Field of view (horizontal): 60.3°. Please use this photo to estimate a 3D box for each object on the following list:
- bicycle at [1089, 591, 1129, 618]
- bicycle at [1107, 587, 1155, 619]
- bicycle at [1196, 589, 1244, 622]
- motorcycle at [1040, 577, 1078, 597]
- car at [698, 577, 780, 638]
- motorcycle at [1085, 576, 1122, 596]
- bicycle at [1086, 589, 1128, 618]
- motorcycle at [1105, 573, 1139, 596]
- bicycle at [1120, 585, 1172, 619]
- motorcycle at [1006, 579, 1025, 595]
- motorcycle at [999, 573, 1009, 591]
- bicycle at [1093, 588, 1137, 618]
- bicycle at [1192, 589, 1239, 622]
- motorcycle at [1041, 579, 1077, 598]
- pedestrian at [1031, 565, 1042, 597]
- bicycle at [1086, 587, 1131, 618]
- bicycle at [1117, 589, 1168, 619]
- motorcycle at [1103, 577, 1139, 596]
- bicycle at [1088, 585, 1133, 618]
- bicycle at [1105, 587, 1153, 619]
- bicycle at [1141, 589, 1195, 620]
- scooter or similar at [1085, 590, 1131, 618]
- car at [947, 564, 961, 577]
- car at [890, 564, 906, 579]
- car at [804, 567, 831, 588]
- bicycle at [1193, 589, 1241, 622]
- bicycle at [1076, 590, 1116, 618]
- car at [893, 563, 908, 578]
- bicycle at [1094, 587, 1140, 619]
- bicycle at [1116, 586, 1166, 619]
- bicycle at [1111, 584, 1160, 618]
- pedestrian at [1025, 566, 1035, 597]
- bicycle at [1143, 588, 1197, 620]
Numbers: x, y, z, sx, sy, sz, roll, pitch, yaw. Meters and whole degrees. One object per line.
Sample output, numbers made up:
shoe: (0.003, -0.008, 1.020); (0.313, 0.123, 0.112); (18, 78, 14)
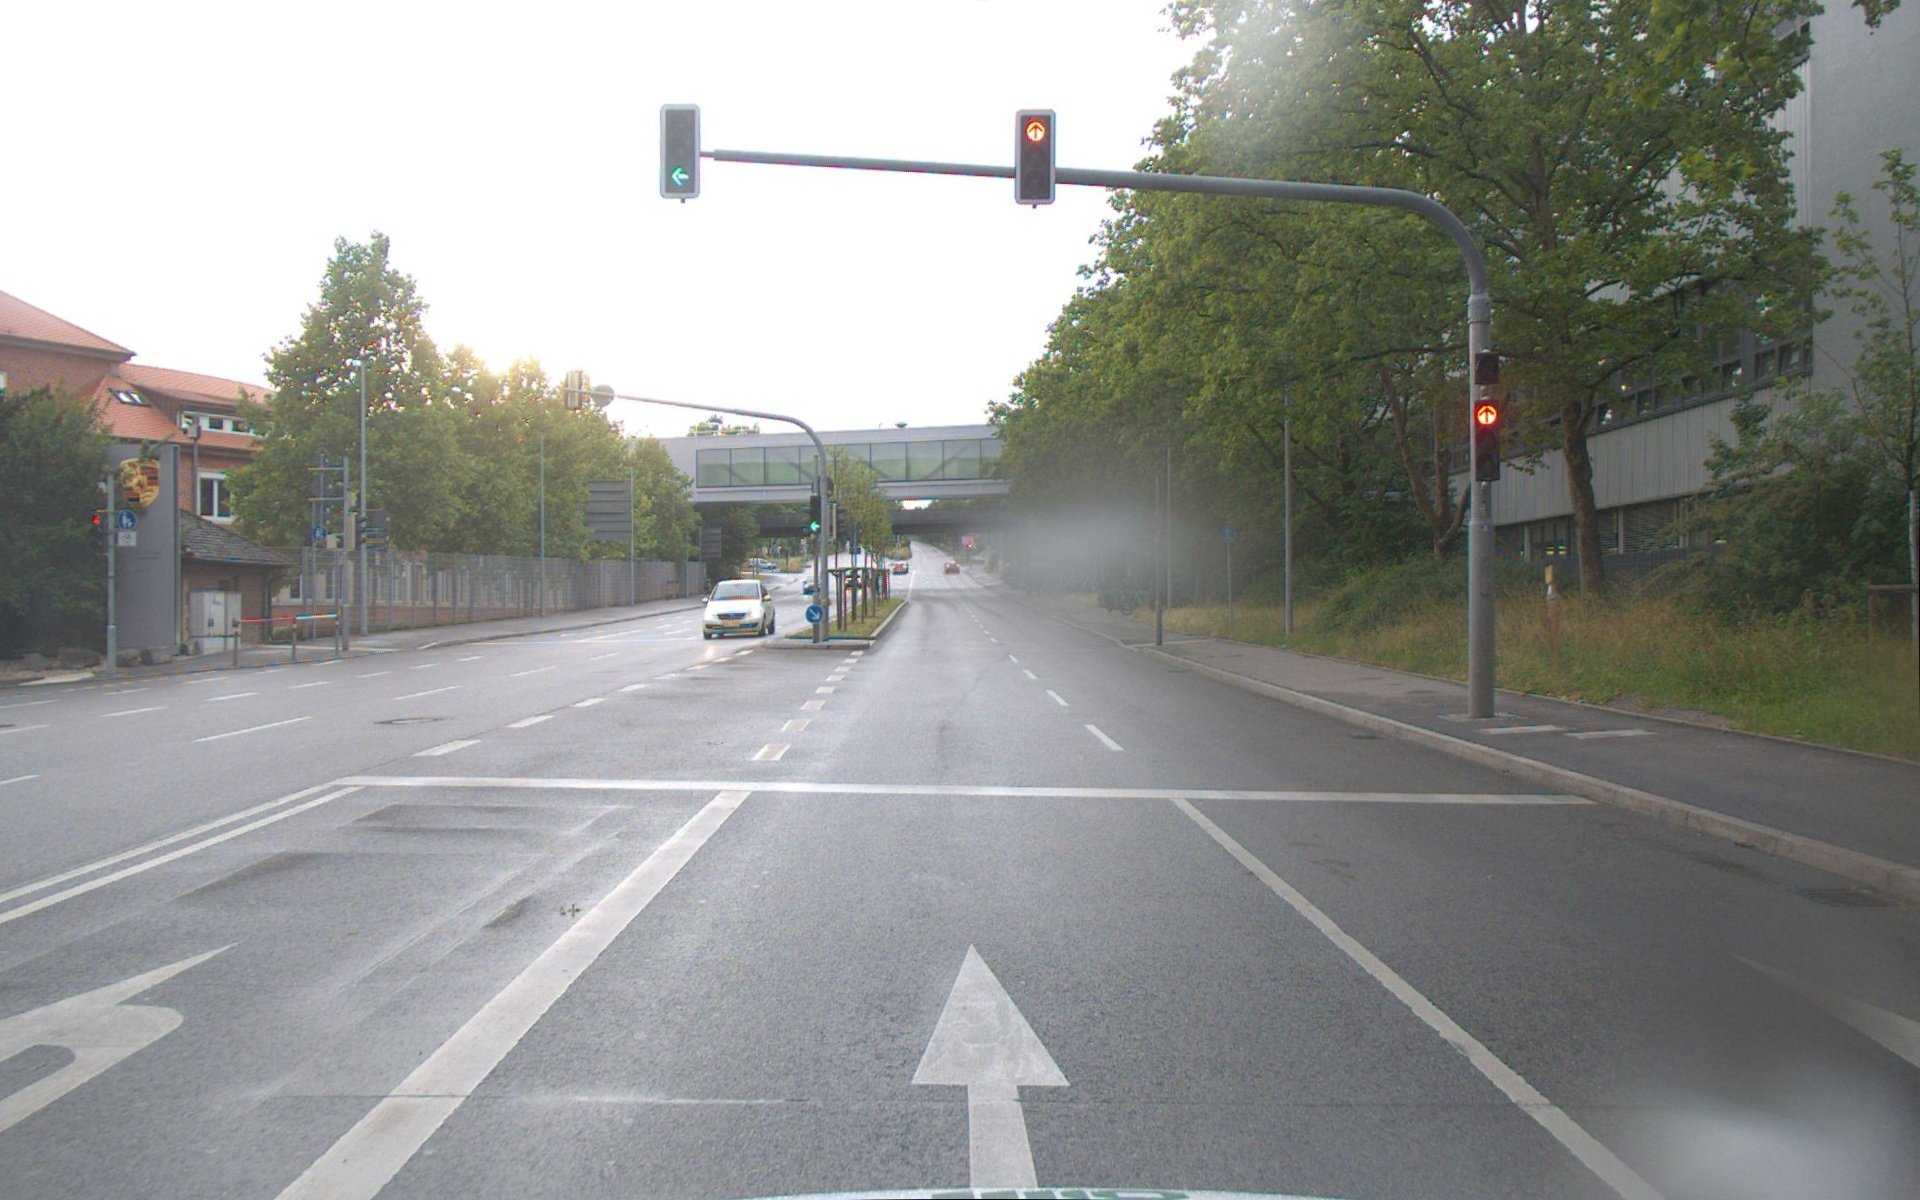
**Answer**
bicycle: (7.569, 0.229, 83.959); (1.922, 1.352, 0.654); (2, -1, 0)
bicycle: (7.176, 0.121, 69.344); (1.949, 1.263, 0.541); (2, -1, 0)
bicycle: (11.167, 0.226, 71.136); (1.949, 1.352, 0.576); (2, -1, 0)
motorcycle: (6.360, -0.838, 106.160); (2.318, 1.223, 0.723); (-1, 0, 7)
car: (-6.329, 0.185, 47.769); (1.839, 1.653, 3.778); (-1, 0, 0)
motorcycle: (9.322, -0.895, 107.639); (2.318, 1.223, 0.723); (-1, 0, 7)
bicycle: (7.008, 0.163, 78.859); (1.920, 1.352, 0.576); (2, -1, 0)
motorcycle: (11.317, -1.086, 115.586); (2.318, 1.502, 0.723); (-1, 0, 7)
bicycle: (7.228, 0.088, 64.386); (1.949, 1.237, 0.541); (2, -1, 0)
motorcycle: (4.508, -1.049, 133.910); (0.778, 1.334, 2.364); (-2, 0, -18)
motorcycle: (4.058, -1.655, 153.131); (0.774, 1.560, 2.376); (-1, 0, -2)
bicycle: (7.206, 0.150, 76.912); (1.949, 1.352, 0.576); (2, -1, 0)
bicycle: (11.182, 0.239, 72.438); (1.949, 1.352, 0.576); (2, -1, 0)
motorcycle: (6.575, -0.758, 110.040); (2.318, 1.223, 0.723); (-1, 0, 7)
pedestrian: (5.007, -1.241, 107.970); (0.609, 2.049, 0.605); (-1, 0, 0)
bicycle: (6.664, 0.122, 74.377); (1.949, 1.352, 0.576); (2, -1, 0)
bicycle: (7.263, 0.156, 65.993); (1.949, 1.114, 0.541); (2, -1, 0)
motorcycle: (10.698, -0.905, 109.808); (2.318, 1.223, 0.723); (-1, 0, 7)
bicycle: (6.918, 0.082, 76.056); (1.949, 1.455, 0.723); (2, -1, 0)
bicycle: (7.165, 0.130, 70.292); (1.949, 1.263, 0.541); (2, -1, 0)
bicycle: (7.906, 0.156, 62.931); (1.949, 1.114, 0.541); (2, -1, 0)
scooter or similar: (6.467, 0.167, 72.453); (1.949, 1.157, 0.541); (2, -1, 0)
car: (-0.770, -3.787, 211.333); (1.837, 1.523, 4.068); (2, -1, 0)
car: (-8.038, -3.730, 214.812); (1.953, 1.792, 3.999); (2, -1, 0)
car: (-11.743, -1.854, 136.651); (1.839, 1.653, 3.778); (-1, 0, 0)
bicycle: (11.141, 0.231, 71.760); (1.949, 1.352, 0.576); (2, -1, 0)
bicycle: (6.800, 0.195, 82.868); (1.922, 1.352, 0.654); (2, -1, 0)
car: (-8.004, -3.925, 221.518); (1.846, 1.792, 3.968); (2, -1, 0)
bicycle: (6.987, 0.124, 73.571); (1.949, 1.352, 0.576); (2, -1, 0)
bicycle: (7.276, 0.102, 66.575); (1.949, 1.255, 0.541); (2, -1, 0)
bicycle: (7.276, 0.050, 68.653); (1.949, 1.364, 0.541); (2, -1, 0)
pedestrian: (4.599, -1.213, 108.384); (0.609, 2.049, 0.605); (-1, 0, 0)
bicycle: (7.909, 0.151, 62.363); (1.949, 1.114, 0.541); (2, -1, 0)
